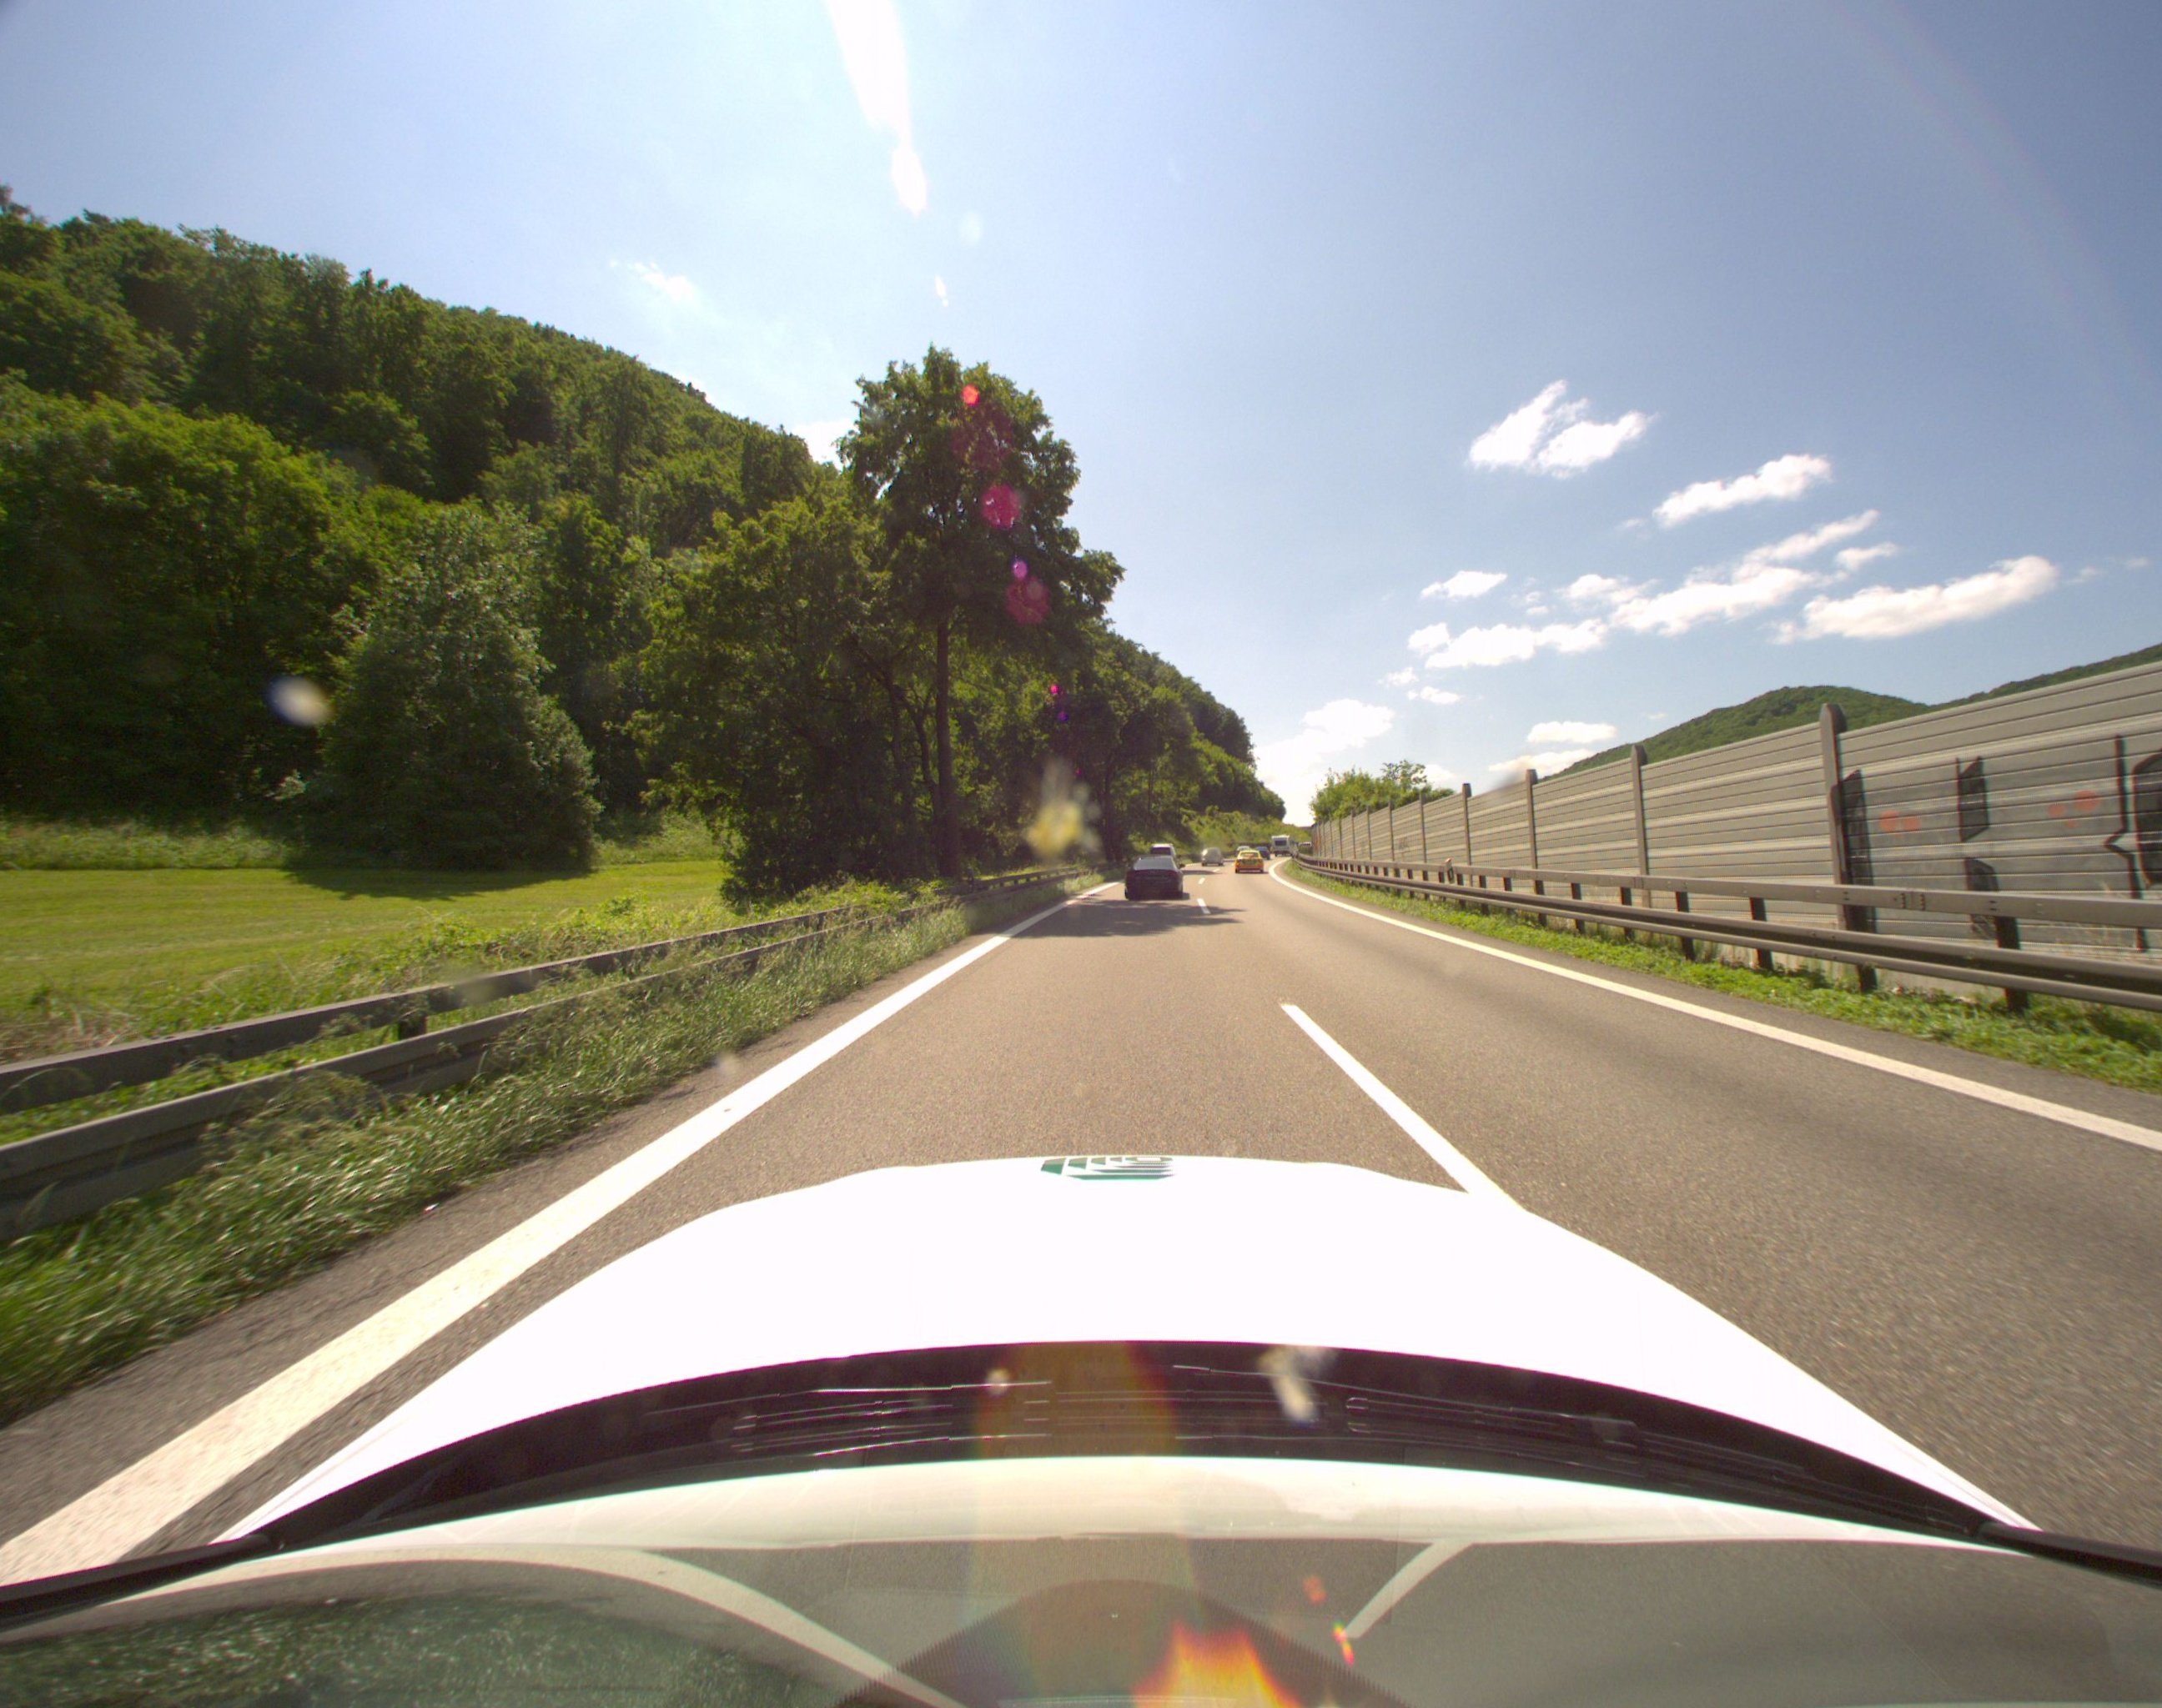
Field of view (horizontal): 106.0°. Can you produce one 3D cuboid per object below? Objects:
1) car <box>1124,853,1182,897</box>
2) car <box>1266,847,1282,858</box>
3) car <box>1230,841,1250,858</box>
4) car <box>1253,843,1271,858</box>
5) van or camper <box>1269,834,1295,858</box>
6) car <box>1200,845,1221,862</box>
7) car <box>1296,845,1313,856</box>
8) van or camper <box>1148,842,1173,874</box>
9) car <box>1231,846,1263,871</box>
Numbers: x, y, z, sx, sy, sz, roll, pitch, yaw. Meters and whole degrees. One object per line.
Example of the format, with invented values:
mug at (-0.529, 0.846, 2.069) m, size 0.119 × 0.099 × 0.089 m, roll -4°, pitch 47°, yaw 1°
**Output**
car at (2.478, 0.686, 27.486) m, size 1.828 × 1.349 × 4.007 m, roll 0°, pitch -1°, yaw 6°
car at (31.189, -0.185, 131.549) m, size 1.825 × 1.717 × 4.021 m, roll -2°, pitch -1°, yaw 21°
car at (19.784, -0.620, 101.342) m, size 1.978 × 2.013 × 4.017 m, roll -2°, pitch 0°, yaw 16°
car at (20.116, -0.394, 90.594) m, size 1.762 × 1.636 × 4.013 m, roll -2°, pitch 0°, yaw 11°
van or camper at (26.255, -0.982, 106.186) m, size 2.434 × 2.918 × 6.158 m, roll -2°, pitch -1°, yaw 21°
car at (11.274, -0.009, 70.771) m, size 1.736 × 1.431 × 4.011 m, roll -1°, pitch -1°, yaw 10°
car at (36.656, -0.607, 133.747) m, size 1.975 × 1.717 × 4.024 m, roll -2°, pitch 0°, yaw 25°
van or camper at (4.736, 0.249, 48.755) m, size 1.385 × 1.816 × 4.005 m, roll -1°, pitch -1°, yaw 5°
car at (10.758, 0.283, 52.531) m, size 1.850 × 1.488 × 4.014 m, roll -2°, pitch -1°, yaw 13°
